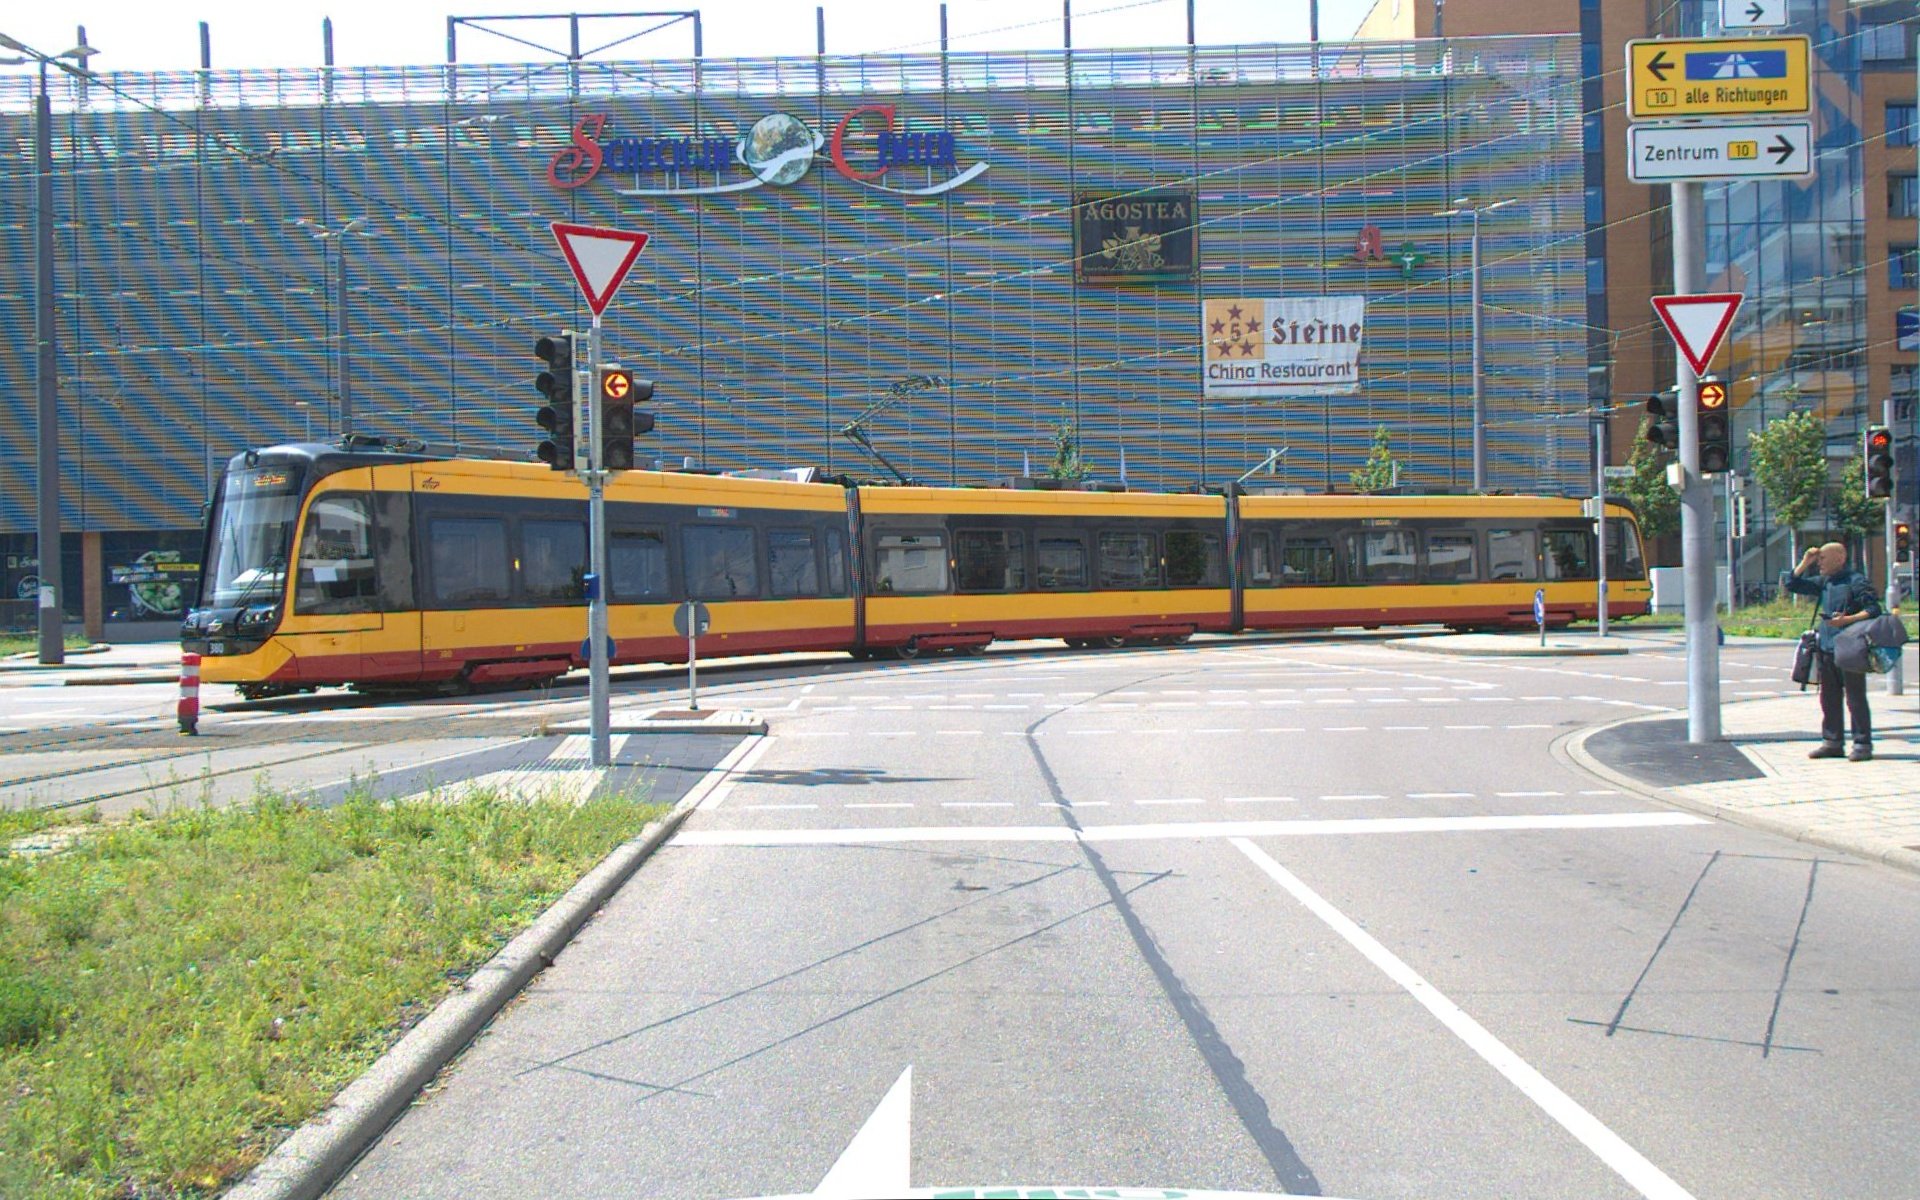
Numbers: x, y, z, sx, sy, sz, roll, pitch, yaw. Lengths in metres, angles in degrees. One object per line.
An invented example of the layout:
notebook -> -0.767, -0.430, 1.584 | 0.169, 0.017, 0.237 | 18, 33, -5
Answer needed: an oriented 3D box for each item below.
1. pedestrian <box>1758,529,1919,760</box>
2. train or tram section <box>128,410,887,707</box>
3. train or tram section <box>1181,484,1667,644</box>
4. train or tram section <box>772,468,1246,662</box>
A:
pedestrian -> 7.001, 0.338, 13.067 | 0.797, 1.732, 0.910 | -2, 0, -28
train or tram section -> -6.256, -0.598, 26.990 | 3.157, 3.662, 13.469 | 0, 1, 31
train or tram section -> 11.775, -0.888, 41.595 | 12.410, 3.684, 3.047 | 0, 0, -21
train or tram section -> 1.372, -0.732, 35.850 | 10.878, 3.666, 3.024 | -1, 1, -38
